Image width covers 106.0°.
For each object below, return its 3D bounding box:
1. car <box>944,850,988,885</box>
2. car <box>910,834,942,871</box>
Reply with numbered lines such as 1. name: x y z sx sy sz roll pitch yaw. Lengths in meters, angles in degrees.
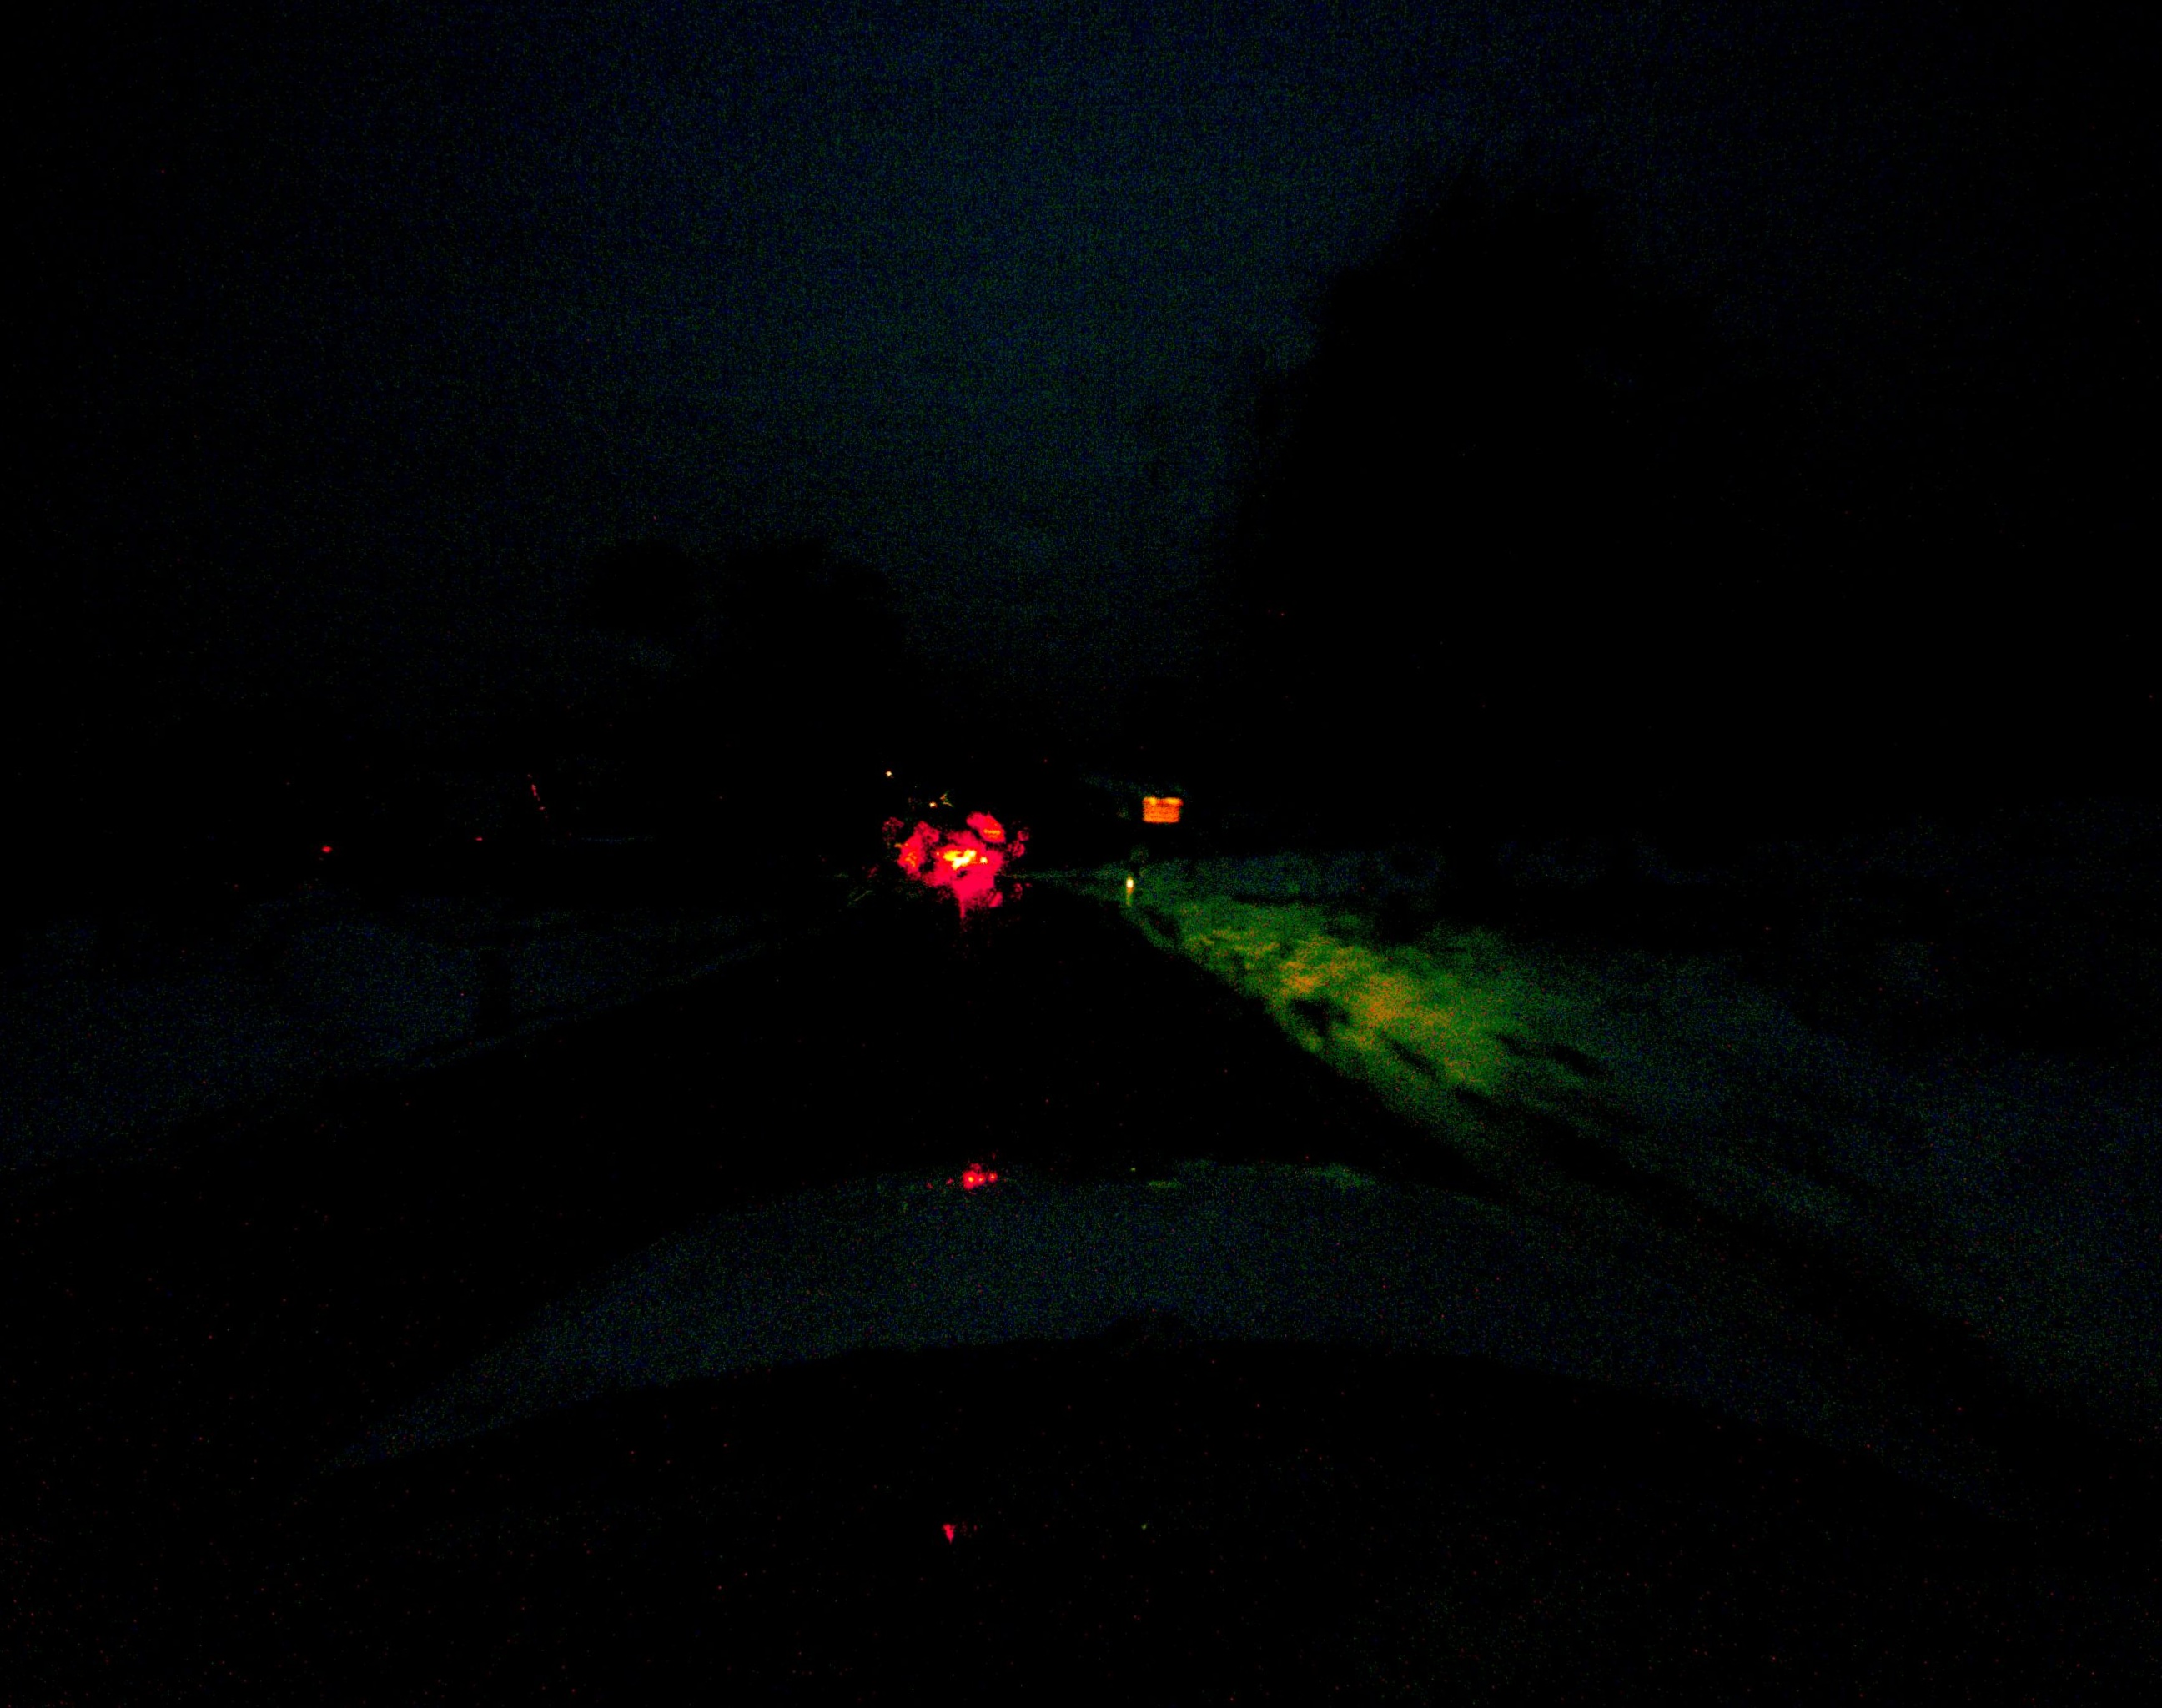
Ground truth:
1. car: -6.696 0.717 47.116 2.275 1.840 4.988 -2 0 -11
2. car: -12.977 -0.087 68.427 2.435 3.019 5.307 -1 -1 -9
